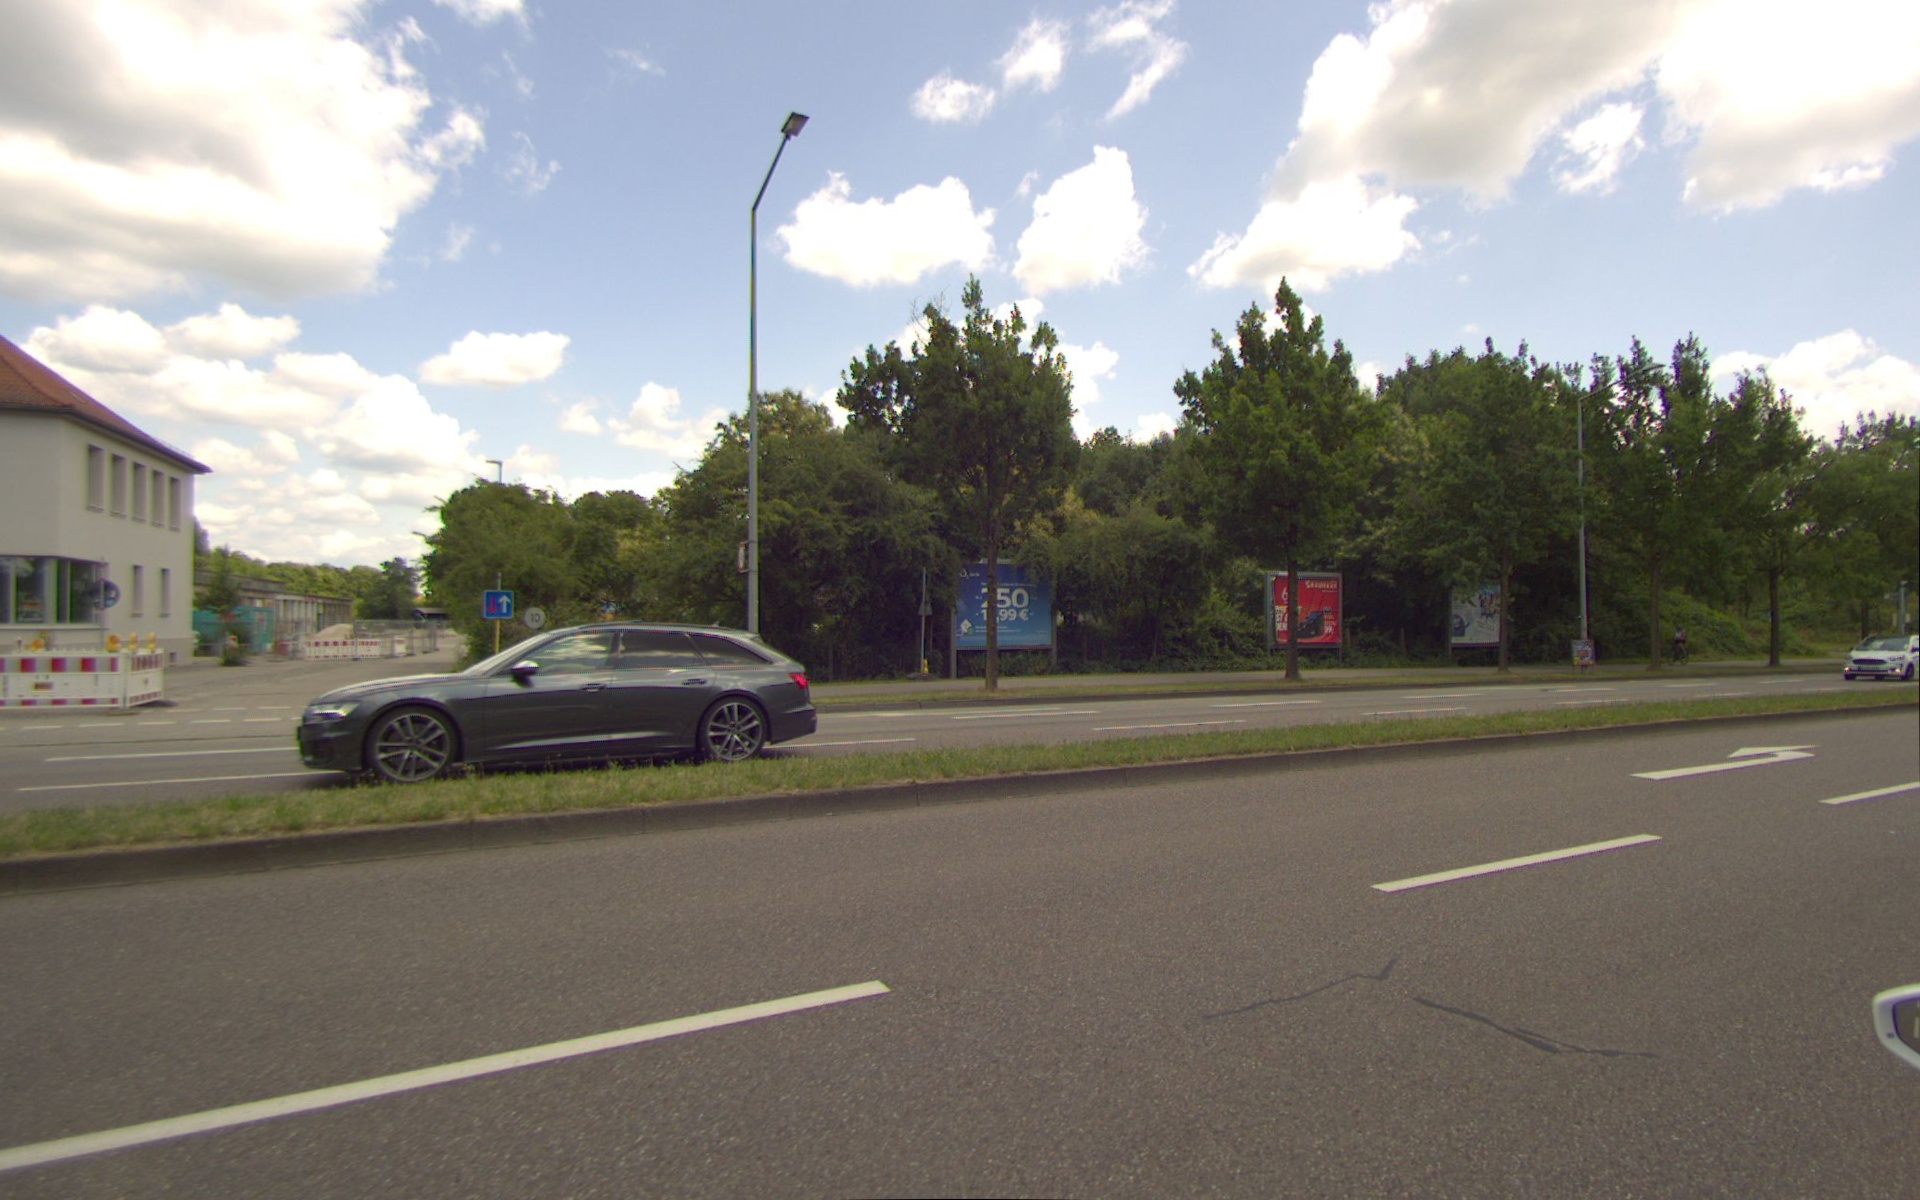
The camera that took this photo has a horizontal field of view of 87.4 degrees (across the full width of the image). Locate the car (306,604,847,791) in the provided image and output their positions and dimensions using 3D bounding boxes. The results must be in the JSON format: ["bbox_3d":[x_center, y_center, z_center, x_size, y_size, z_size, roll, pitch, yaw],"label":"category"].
[{"bbox_3d":[-3.783,0.868,10.372,4.853,1.537,1.950,1,-2,-31],"label":"car"}]

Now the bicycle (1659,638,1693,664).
[{"bbox_3d":[31.935,2.265,44.796,1.823,1.121,0.507,2,0,-31],"label":"bicycle"}]

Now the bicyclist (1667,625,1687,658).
[{"bbox_3d":[31.988,1.848,44.832,0.706,1.484,0.491,2,0,-34],"label":"bicyclist"}]

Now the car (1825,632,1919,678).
[{"bbox_3d":[31.195,1.837,33.801,4.365,1.461,1.905,1,-3,-31],"label":"car"}]

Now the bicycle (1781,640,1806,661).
[{"bbox_3d":[43.385,2.613,52.287,1.819,1.065,0.544,1,-2,-35],"label":"bicycle"}]
